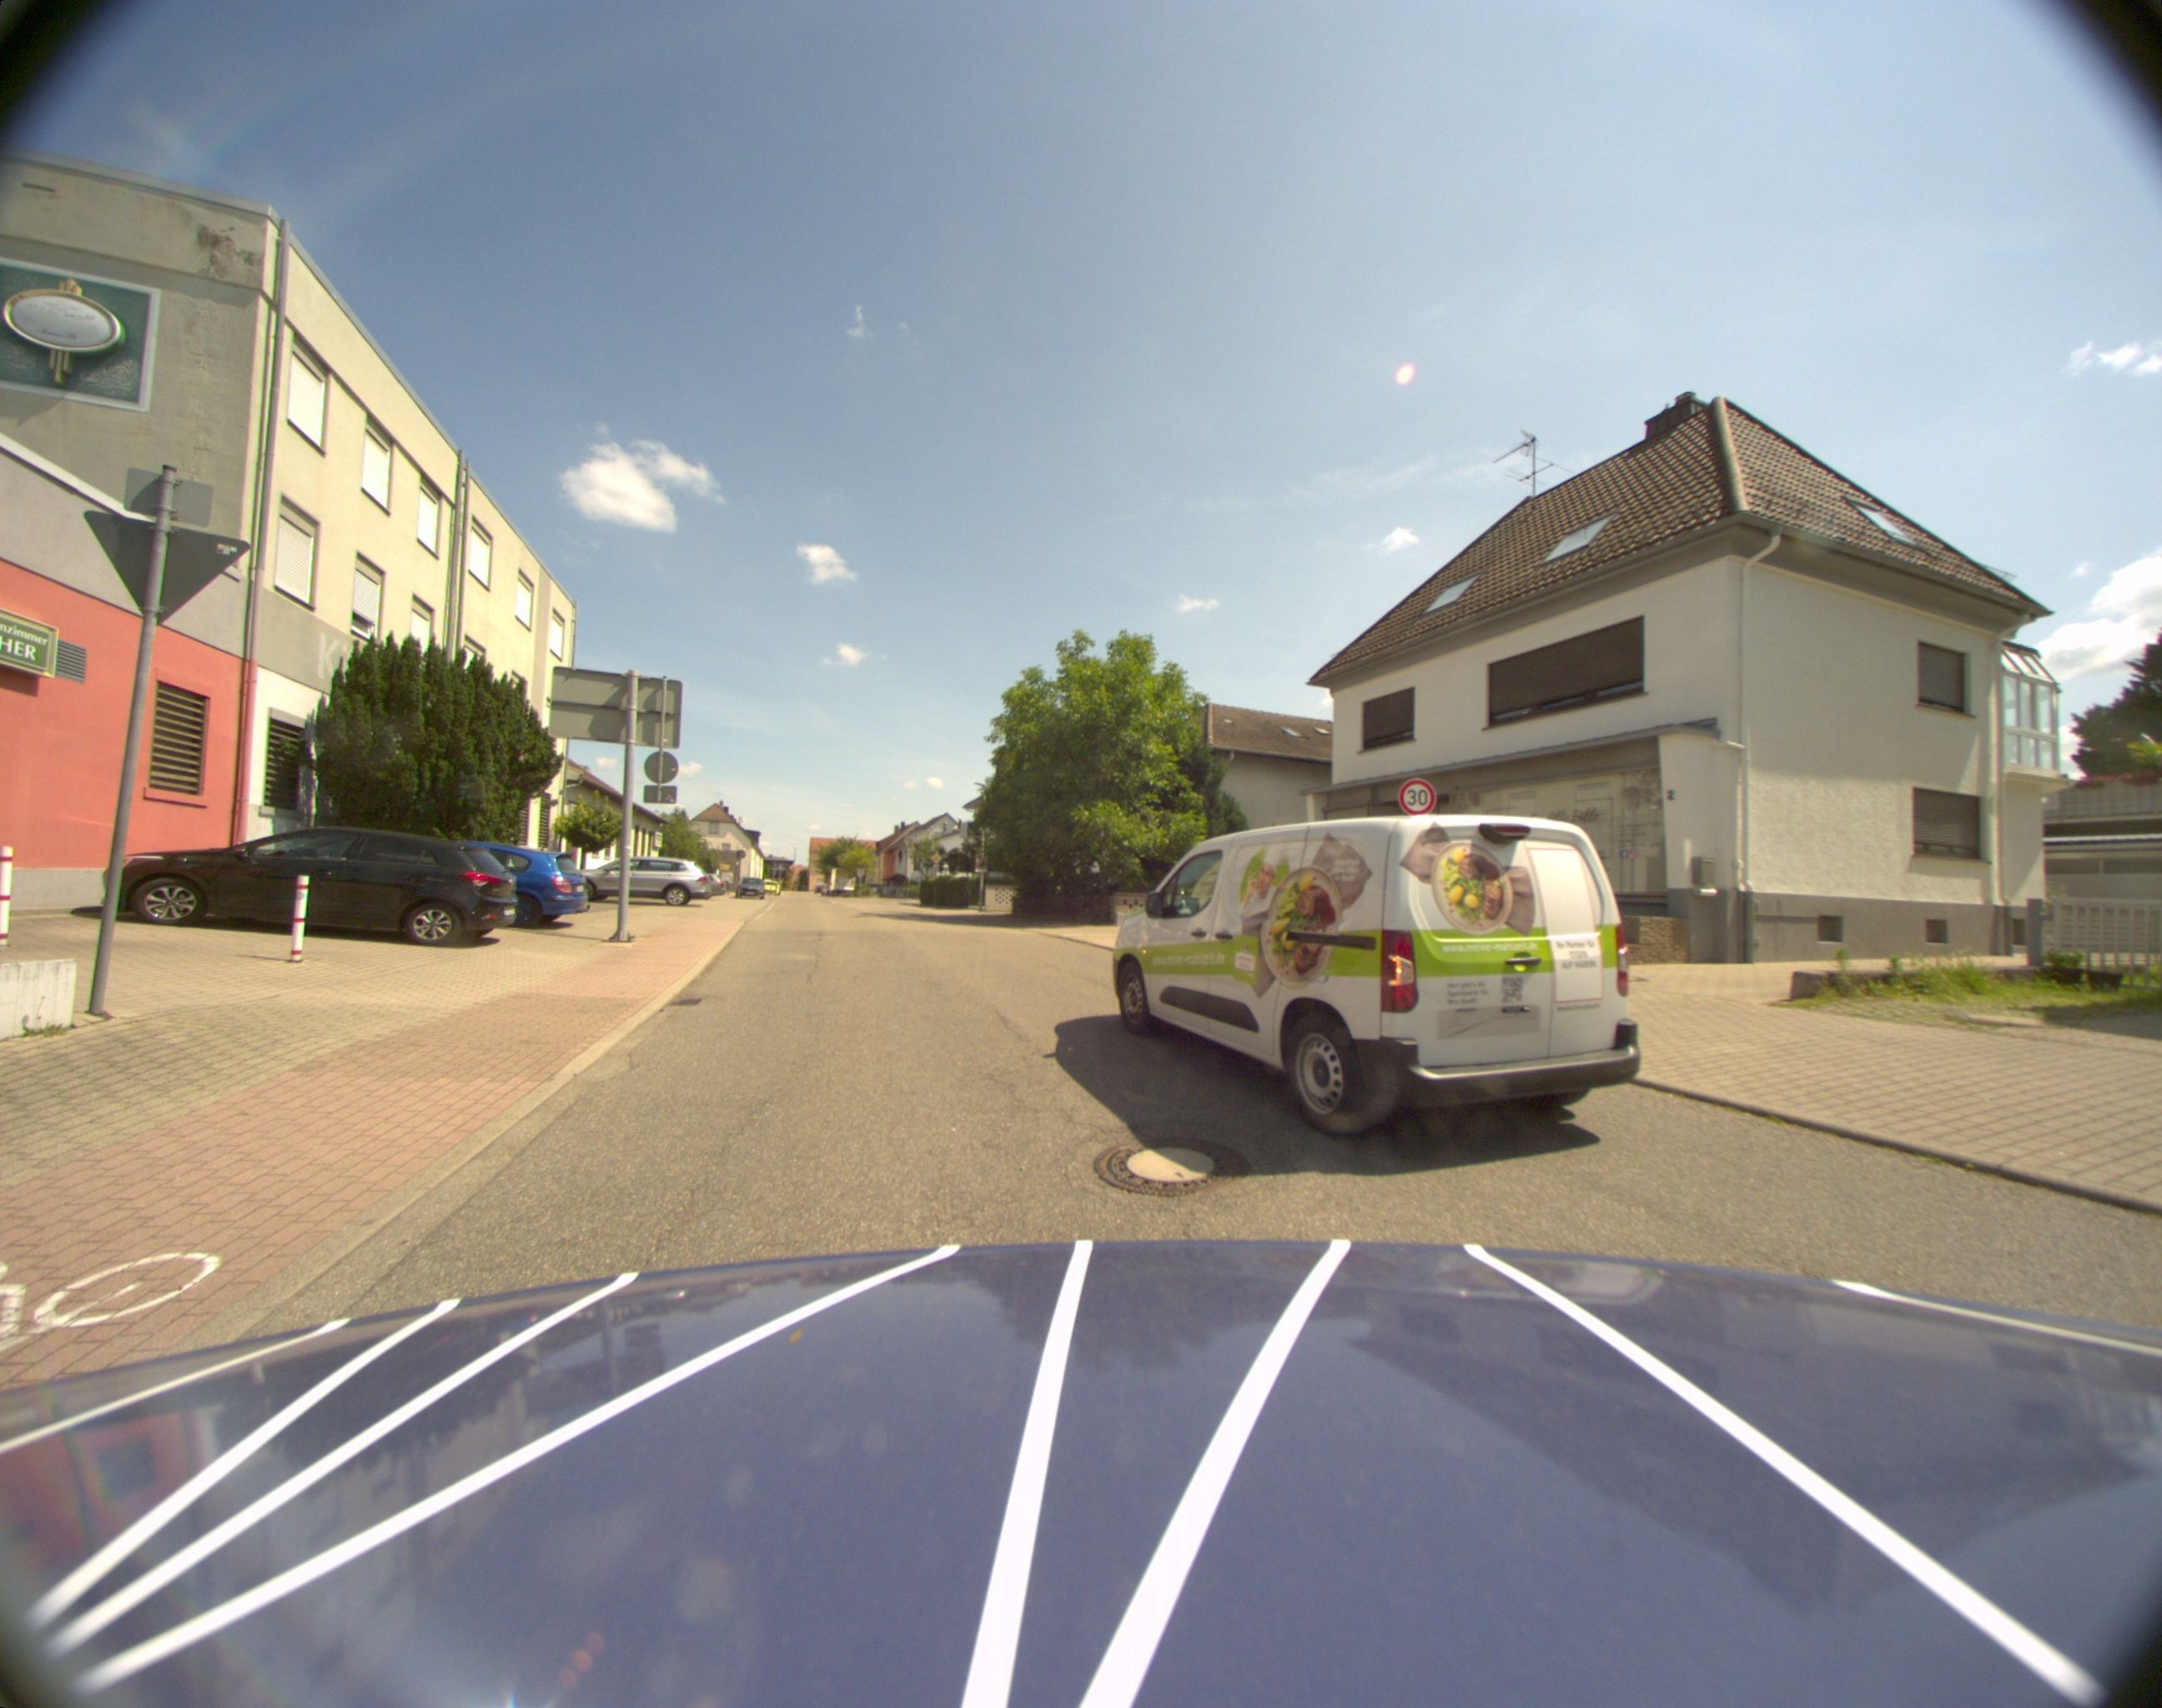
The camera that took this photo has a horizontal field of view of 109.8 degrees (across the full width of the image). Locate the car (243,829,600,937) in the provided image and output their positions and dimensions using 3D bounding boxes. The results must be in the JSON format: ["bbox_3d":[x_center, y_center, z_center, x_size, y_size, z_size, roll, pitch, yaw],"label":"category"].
[{"bbox_3d":[-11.347,0.530,13.521,4.343,1.431,1.776,6,-1,-22],"label":"car"}]

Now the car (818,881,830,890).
[{"bbox_3d":[-45.456,5.540,134.240,1.724,1.490,4.209,5,-4,-21],"label":"car"}]

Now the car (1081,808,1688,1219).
[{"bbox_3d":[1.612,0.783,5.917,1.819,1.843,4.554,-2,-1,-18],"label":"car"}]

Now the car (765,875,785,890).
[{"bbox_3d":[-32.129,3.014,79.900,1.724,1.389,4.209,7,-4,-20],"label":"car"}]

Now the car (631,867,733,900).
[{"bbox_3d":[-21.208,1.572,40.636,4.547,1.445,1.915,5,-3,-21],"label":"car"}]

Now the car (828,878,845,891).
[{"bbox_3d":[-32.221,3.988,99.968,1.724,1.490,4.209,5,-4,-21],"label":"car"}]

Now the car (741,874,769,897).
[{"bbox_3d":[-22.222,2.155,51.885,1.635,1.479,4.133,4,-3,-22],"label":"car"}]

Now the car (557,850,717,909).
[{"bbox_3d":[-15.213,0.909,26.362,4.474,1.686,1.919,5,-3,-23],"label":"car"}]

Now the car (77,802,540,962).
[{"bbox_3d":[-10.163,0.436,10.483,3.914,1.480,1.806,10,-4,-22],"label":"car"}]

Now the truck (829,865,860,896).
[{"bbox_3d":[-27.156,3.042,87.082,2.449,3.225,7.025,7,-4,-23],"label":"truck"}]

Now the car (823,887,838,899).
[{"bbox_3d":[-34.869,5.357,105.675,1.724,1.490,4.209,5,-4,-21],"label":"car"}]
